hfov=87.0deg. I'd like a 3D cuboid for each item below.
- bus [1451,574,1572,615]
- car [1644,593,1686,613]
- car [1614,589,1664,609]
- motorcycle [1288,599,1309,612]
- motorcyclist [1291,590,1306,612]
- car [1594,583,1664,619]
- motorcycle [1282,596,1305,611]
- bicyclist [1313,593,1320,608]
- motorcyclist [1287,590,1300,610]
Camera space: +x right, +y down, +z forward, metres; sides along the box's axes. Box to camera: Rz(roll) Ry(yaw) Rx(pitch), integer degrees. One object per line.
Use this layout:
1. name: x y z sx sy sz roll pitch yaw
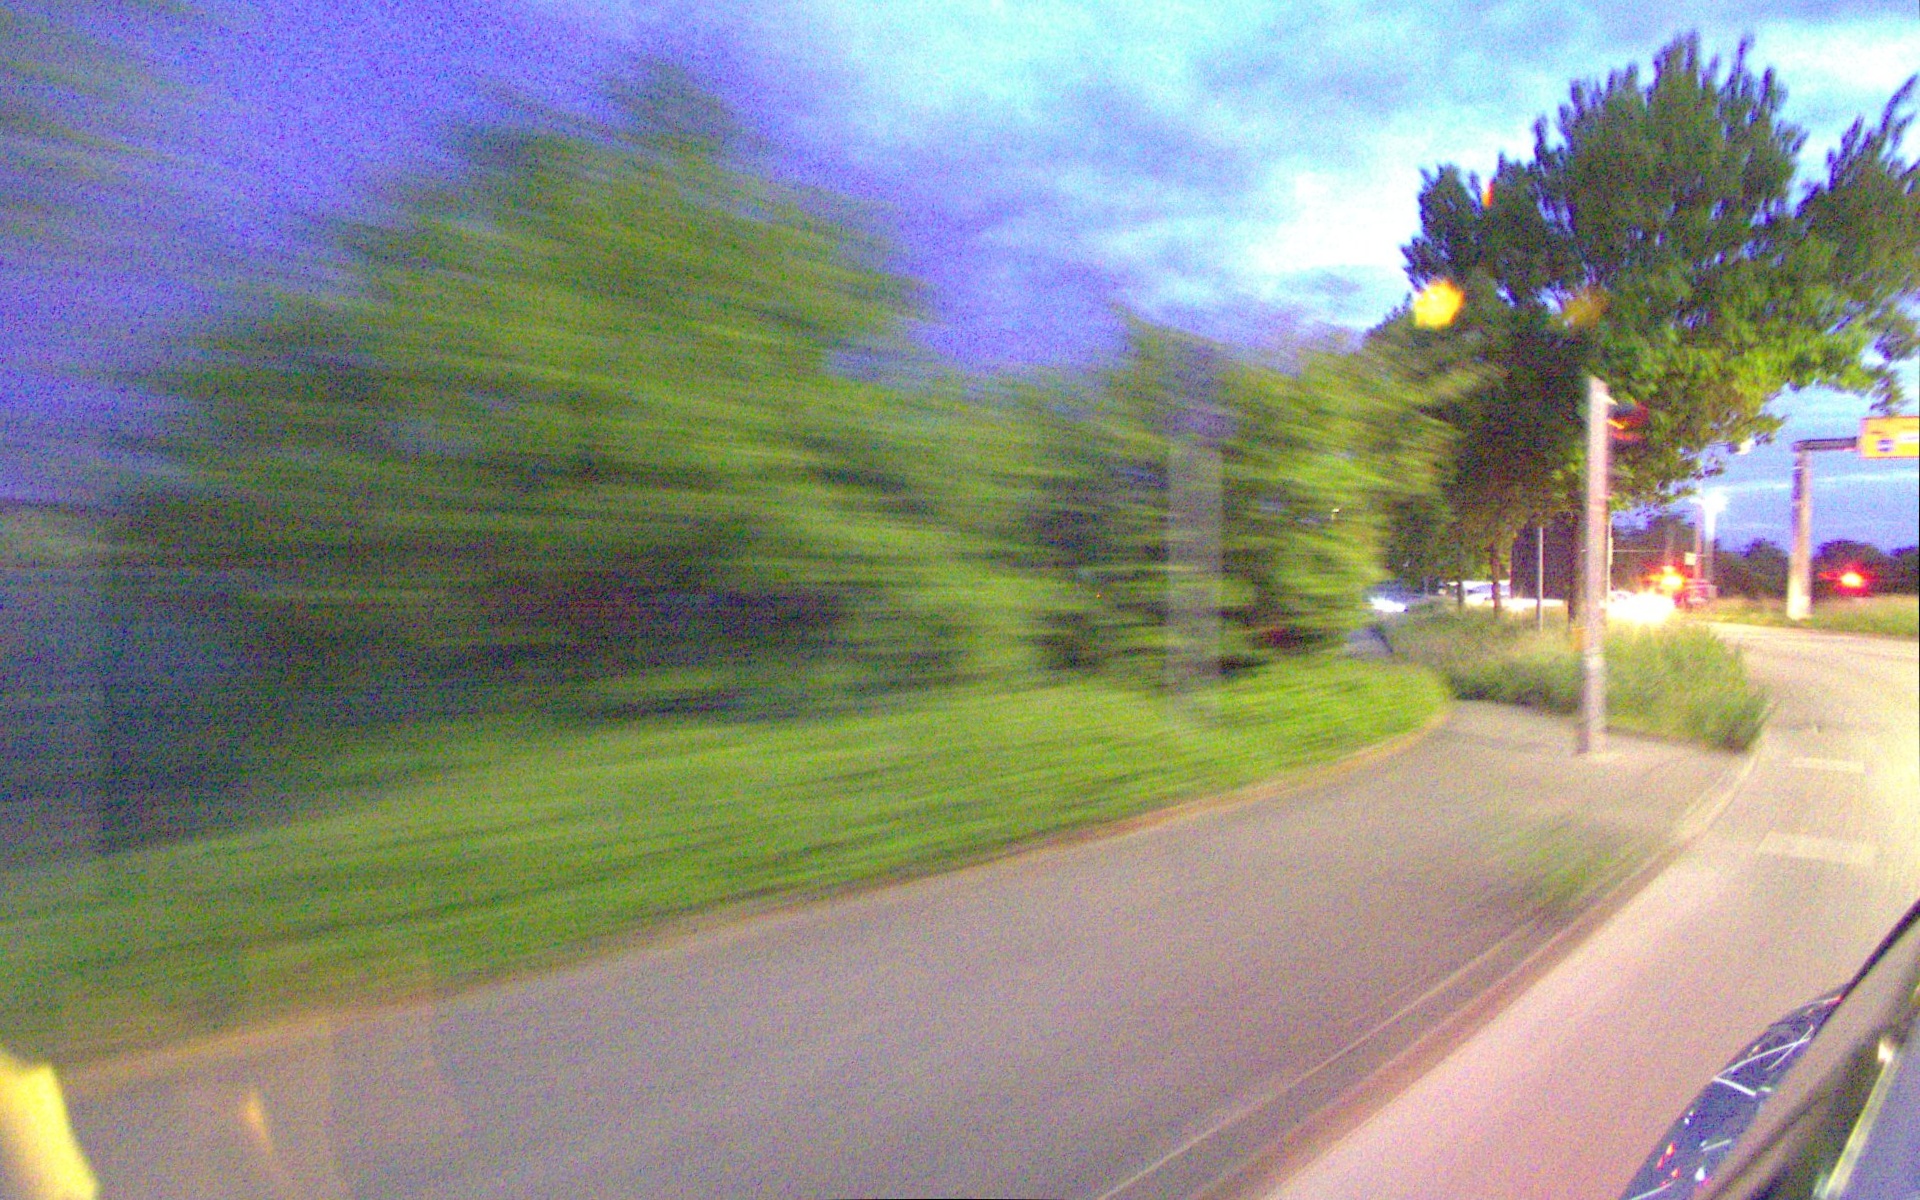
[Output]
1. bus: 57.364 -0.518 105.334 12.022 3.839 2.619 1 -2 -9
2. car: 55.126 0.272 79.192 1.753 1.466 3.753 1 -1 21
3. car: 49.931 -0.049 74.522 1.853 1.415 4.806 1 -1 20
4. motorcycle: 30.143 0.504 90.091 1.545 1.045 0.724 -3 2 -7
5. motorcyclist: 30.113 0.107 90.085 0.853 1.830 0.919 -3 2 -8
6. car: 33.267 0.014 50.423 1.648 1.674 4.388 1 1 16
7. motorcycle: 30.013 0.326 91.087 1.783 1.196 0.852 -3 2 -13
8. bicyclist: 40.600 0.084 115.222 0.595 1.672 0.995 1 -1 16
9. motorcyclist: 30.033 0.001 91.089 0.774 1.780 0.685 -2 2 -13
